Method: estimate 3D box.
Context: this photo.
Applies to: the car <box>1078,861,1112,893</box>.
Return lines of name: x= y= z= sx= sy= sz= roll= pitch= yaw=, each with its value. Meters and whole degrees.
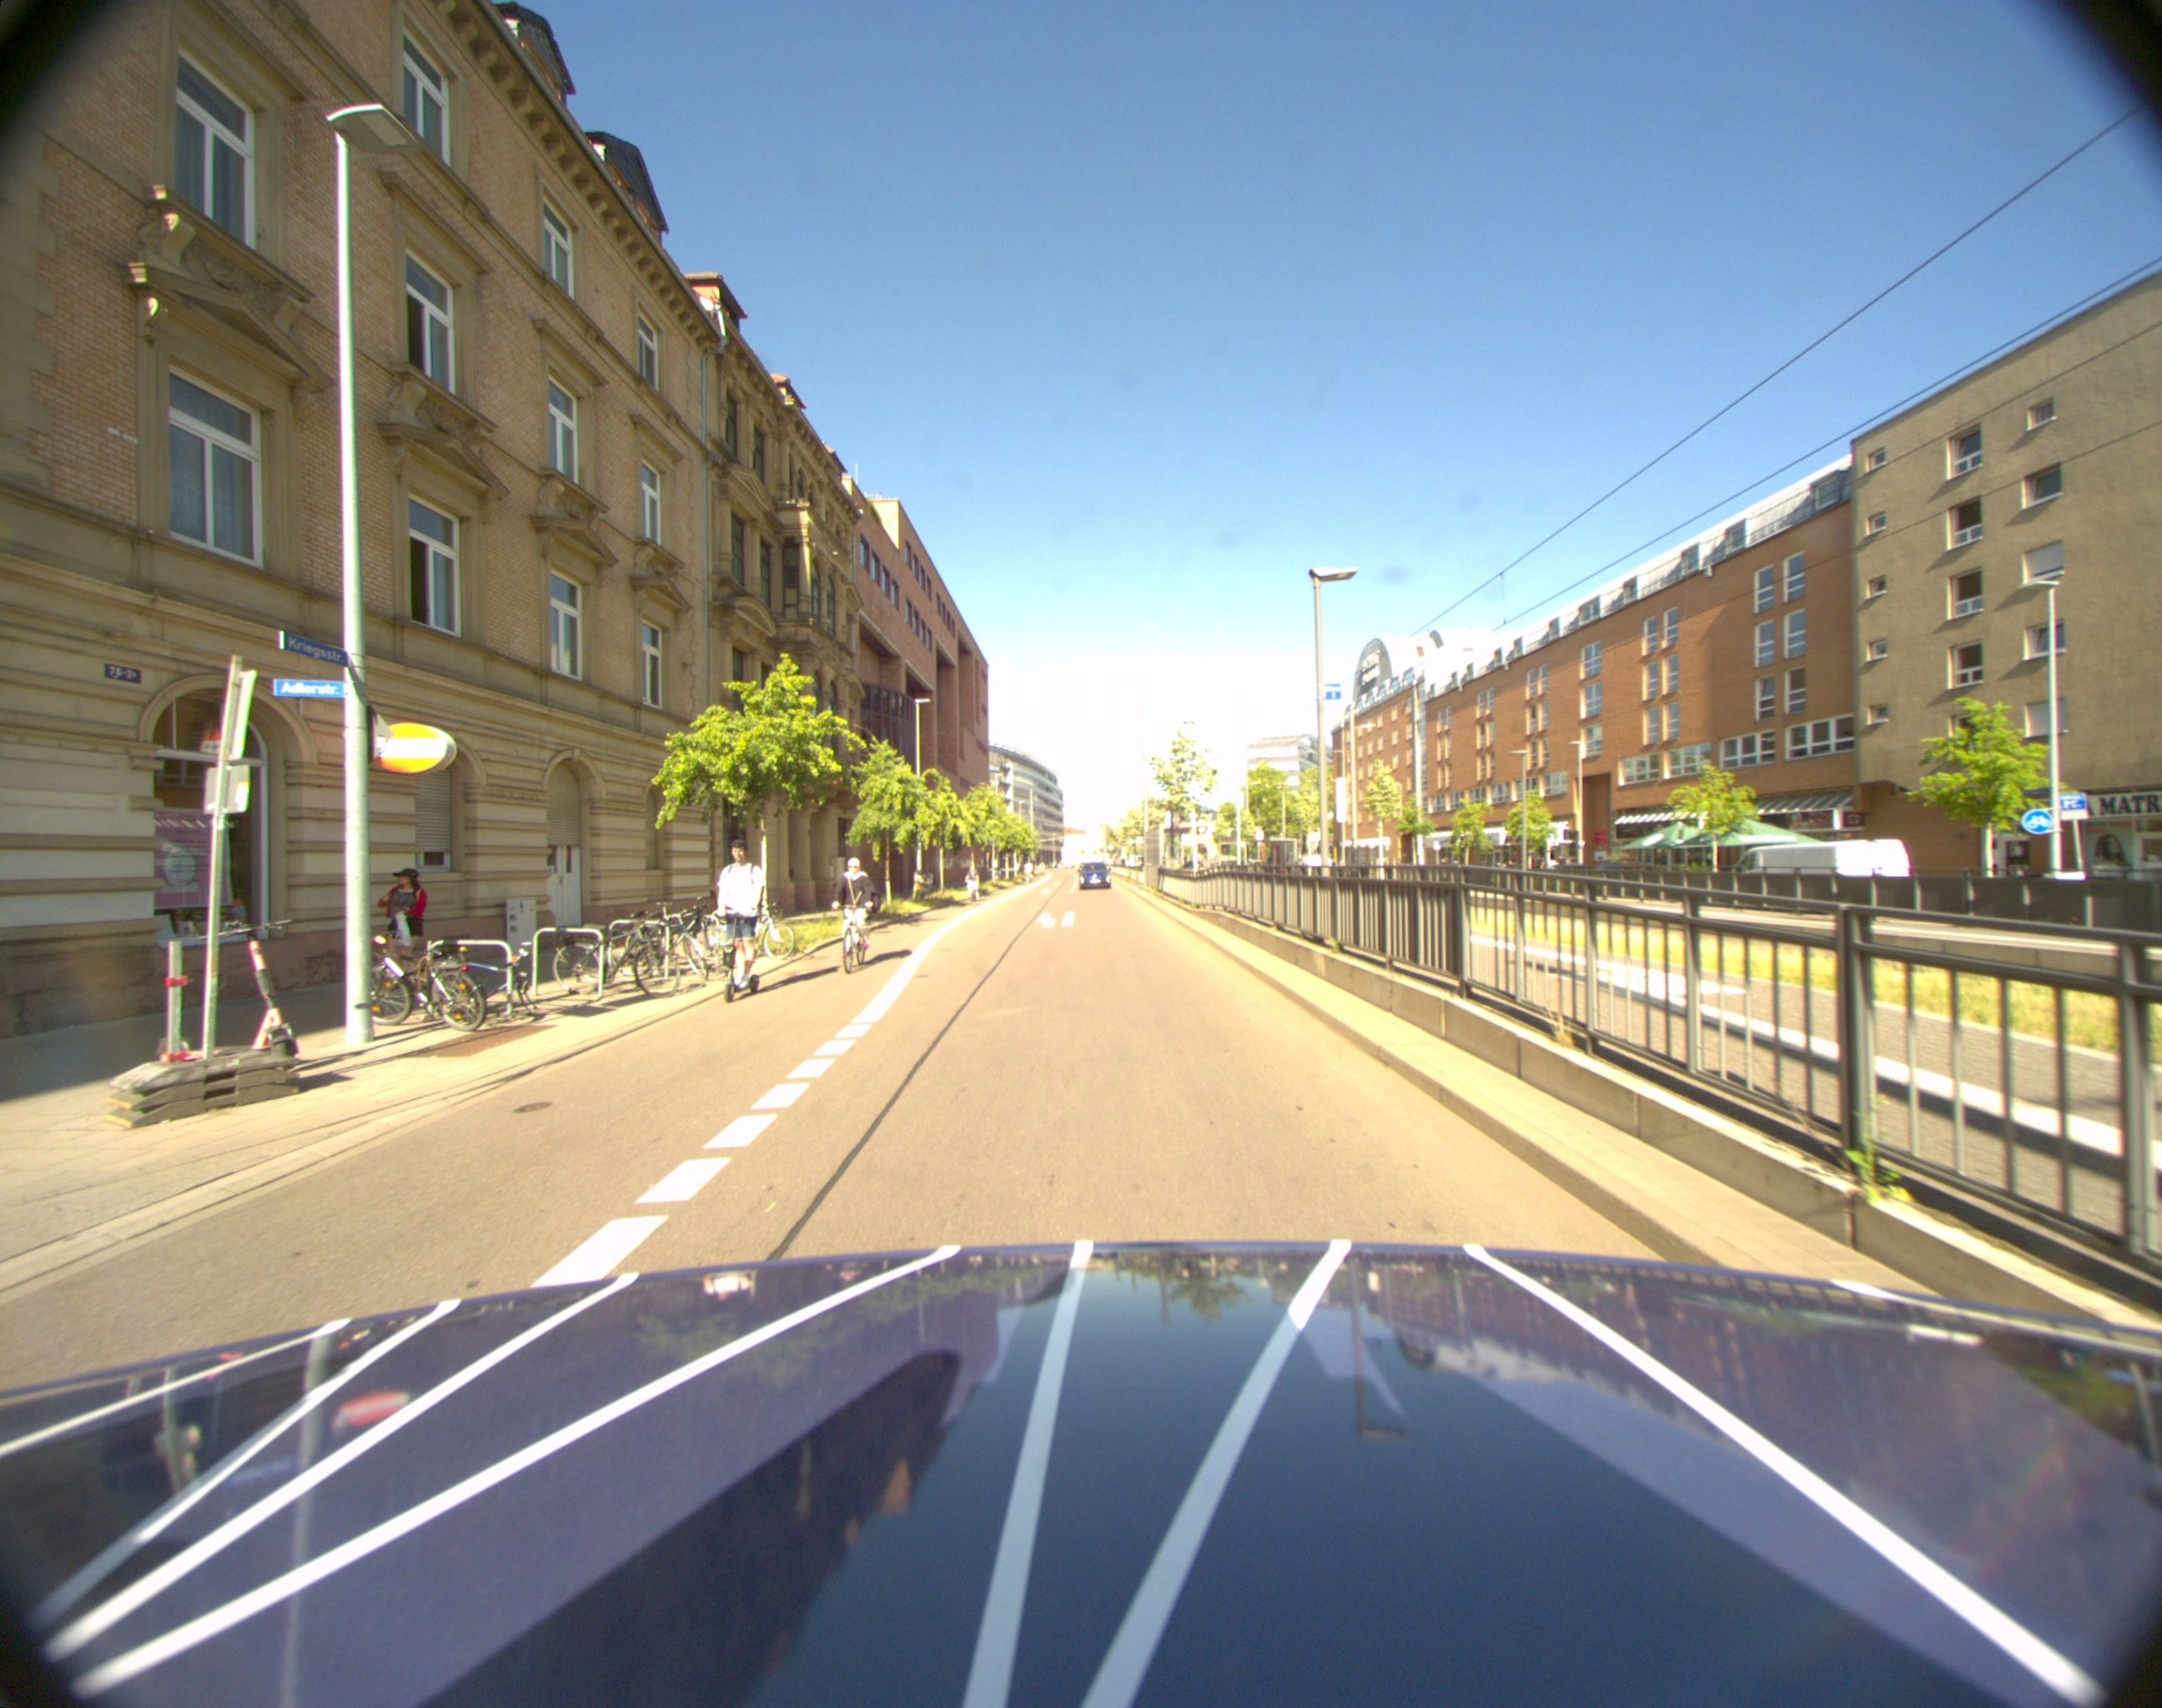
car: x=0.781 y=1.272 z=43.436 sx=1.802 sy=1.596 sz=4.000 roll=-2 pitch=1 yaw=1

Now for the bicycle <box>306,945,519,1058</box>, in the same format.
bicycle: x=-6.473 y=1.406 z=7.390 sx=1.673 sy=0.938 sz=0.607 roll=0 pitch=0 yaw=8

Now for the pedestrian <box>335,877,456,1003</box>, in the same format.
pedestrian: x=-8.923 y=1.087 z=9.937 sx=0.711 sy=1.533 sz=0.927 roll=-1 pitch=0 yaw=0

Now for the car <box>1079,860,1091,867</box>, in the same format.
car: x=0.906 y=2.100 z=167.983 sx=1.882 sy=1.455 sz=4.002 roll=-2 pitch=1 yaw=8

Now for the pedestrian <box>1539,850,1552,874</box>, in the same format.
pedestrian: x=35.786 y=0.592 z=58.528 sx=0.622 sy=1.829 sz=0.644 roll=0 pitch=0 yaw=-1

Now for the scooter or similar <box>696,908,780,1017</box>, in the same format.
scooter or similar: x=-4.398 y=1.356 z=9.806 sx=0.492 sy=1.219 sz=1.170 roll=-3 pitch=0 yaw=0

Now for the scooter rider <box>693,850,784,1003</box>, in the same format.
scooter rider: x=-4.398 y=0.897 z=9.817 sx=0.668 sy=1.850 sz=0.901 roll=-3 pitch=0 yaw=0

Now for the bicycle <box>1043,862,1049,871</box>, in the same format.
bicycle: x=-4.551 y=1.590 z=97.950 sx=0.578 sy=1.090 sz=1.507 roll=-3 pitch=0 yaw=3

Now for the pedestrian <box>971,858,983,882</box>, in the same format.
pedestrian: x=-8.300 y=1.296 z=60.691 sx=0.790 sy=1.872 sz=1.106 roll=-1 pitch=0 yaw=0

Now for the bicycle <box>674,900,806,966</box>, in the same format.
bicycle: x=-6.124 y=1.429 z=13.770 sx=2.001 sy=1.086 sz=0.846 roll=2 pitch=0 yaw=-9

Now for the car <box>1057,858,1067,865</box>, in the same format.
car: x=-4.643 y=1.813 z=184.878 sx=1.882 sy=1.455 sz=4.002 roll=-2 pitch=1 yaw=7

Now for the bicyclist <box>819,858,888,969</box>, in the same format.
bicyclist: x=-3.674 y=0.940 z=12.335 sx=0.781 sy=1.701 sz=0.868 roll=-3 pitch=0 yaw=0

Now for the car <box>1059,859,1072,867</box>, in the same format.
car: x=-3.438 y=1.992 z=168.449 sx=2.120 sy=1.547 sz=4.003 roll=-1 pitch=0 yaw=9

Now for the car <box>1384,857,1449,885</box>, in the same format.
car: x=17.900 y=0.865 z=40.752 sx=1.699 sy=1.279 sz=3.960 roll=-2 pitch=1 yaw=0

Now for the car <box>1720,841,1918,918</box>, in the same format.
car: x=25.230 y=0.811 z=26.377 sx=1.997 sy=2.356 sz=5.649 roll=-1 pitch=0 yaw=8

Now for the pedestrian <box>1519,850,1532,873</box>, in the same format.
pedestrian: x=35.128 y=0.596 z=60.077 sx=0.622 sy=1.829 sz=0.644 roll=0 pitch=0 yaw=-1

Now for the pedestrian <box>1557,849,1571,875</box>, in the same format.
pedestrian: x=34.709 y=0.575 z=54.604 sx=0.622 sy=1.829 sz=0.645 roll=0 pitch=0 yaw=1

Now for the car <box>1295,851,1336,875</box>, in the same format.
car: x=18.361 y=0.669 z=59.662 sx=1.824 sy=1.784 sz=4.088 roll=-2 pitch=1 yaw=0

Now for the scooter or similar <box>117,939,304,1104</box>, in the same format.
scooter or similar: x=-6.840 y=1.290 z=5.984 sx=1.113 sy=1.182 sz=0.419 roll=0 pitch=0 yaw=8

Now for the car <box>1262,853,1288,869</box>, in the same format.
car: x=22.641 y=0.821 z=88.714 sx=1.998 sy=1.674 sz=4.000 roll=-2 pitch=1 yaw=1

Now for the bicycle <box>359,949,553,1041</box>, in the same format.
bicycle: x=-6.603 y=1.472 z=8.058 sx=1.673 sy=0.816 sz=0.607 roll=0 pitch=0 yaw=7

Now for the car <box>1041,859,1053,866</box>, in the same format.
car: x=-7.500 y=1.806 z=169.142 sx=1.882 sy=1.455 sz=4.002 roll=-2 pitch=1 yaw=7

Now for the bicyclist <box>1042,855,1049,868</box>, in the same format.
bicyclist: x=-4.584 y=0.974 z=97.865 sx=0.755 sy=1.607 sz=0.762 roll=-3 pitch=0 yaw=3

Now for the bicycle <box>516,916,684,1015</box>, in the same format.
bicycle: x=-6.008 y=1.380 z=9.529 sx=1.727 sy=1.094 sz=0.607 roll=2 pitch=0 yaw=4

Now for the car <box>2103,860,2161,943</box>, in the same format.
car: x=23.955 y=1.010 z=15.128 sx=1.819 sy=1.749 sz=4.000 roll=-1 pitch=0 yaw=0

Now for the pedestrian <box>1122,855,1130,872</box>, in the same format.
pedestrian: x=4.732 y=1.014 z=79.546 sx=0.710 sy=1.713 sz=0.752 roll=-1 pitch=1 yaw=-1

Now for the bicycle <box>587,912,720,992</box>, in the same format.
bicycle: x=-6.214 y=1.414 z=11.087 sx=1.603 sy=1.039 sz=0.607 roll=2 pitch=0 yaw=4

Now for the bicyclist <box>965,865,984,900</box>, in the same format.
bicyclist: x=-4.814 y=1.281 z=34.422 sx=0.659 sy=1.528 sz=0.909 roll=-3 pitch=0 yaw=0

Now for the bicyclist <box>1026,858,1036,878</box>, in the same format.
bicyclist: x=-4.507 y=1.260 z=68.267 sx=0.684 sy=1.718 sz=0.909 roll=-3 pitch=0 yaw=3

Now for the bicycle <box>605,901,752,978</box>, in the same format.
bicycle: x=-6.537 y=1.377 z=12.402 sx=1.999 sy=1.121 sz=0.710 roll=2 pitch=0 yaw=2

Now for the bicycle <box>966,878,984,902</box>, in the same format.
bicycle: x=-4.791 y=1.619 z=34.388 sx=0.558 sy=1.021 sz=1.507 roll=-3 pitch=0 yaw=0

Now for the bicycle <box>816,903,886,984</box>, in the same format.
bicycle: x=-3.727 y=1.421 z=12.447 sx=0.558 sy=1.086 sz=1.792 roll=-3 pitch=0 yaw=0

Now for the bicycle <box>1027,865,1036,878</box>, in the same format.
bicycle: x=-4.475 y=1.604 z=68.383 sx=0.578 sy=1.090 sz=1.507 roll=-3 pitch=0 yaw=2
